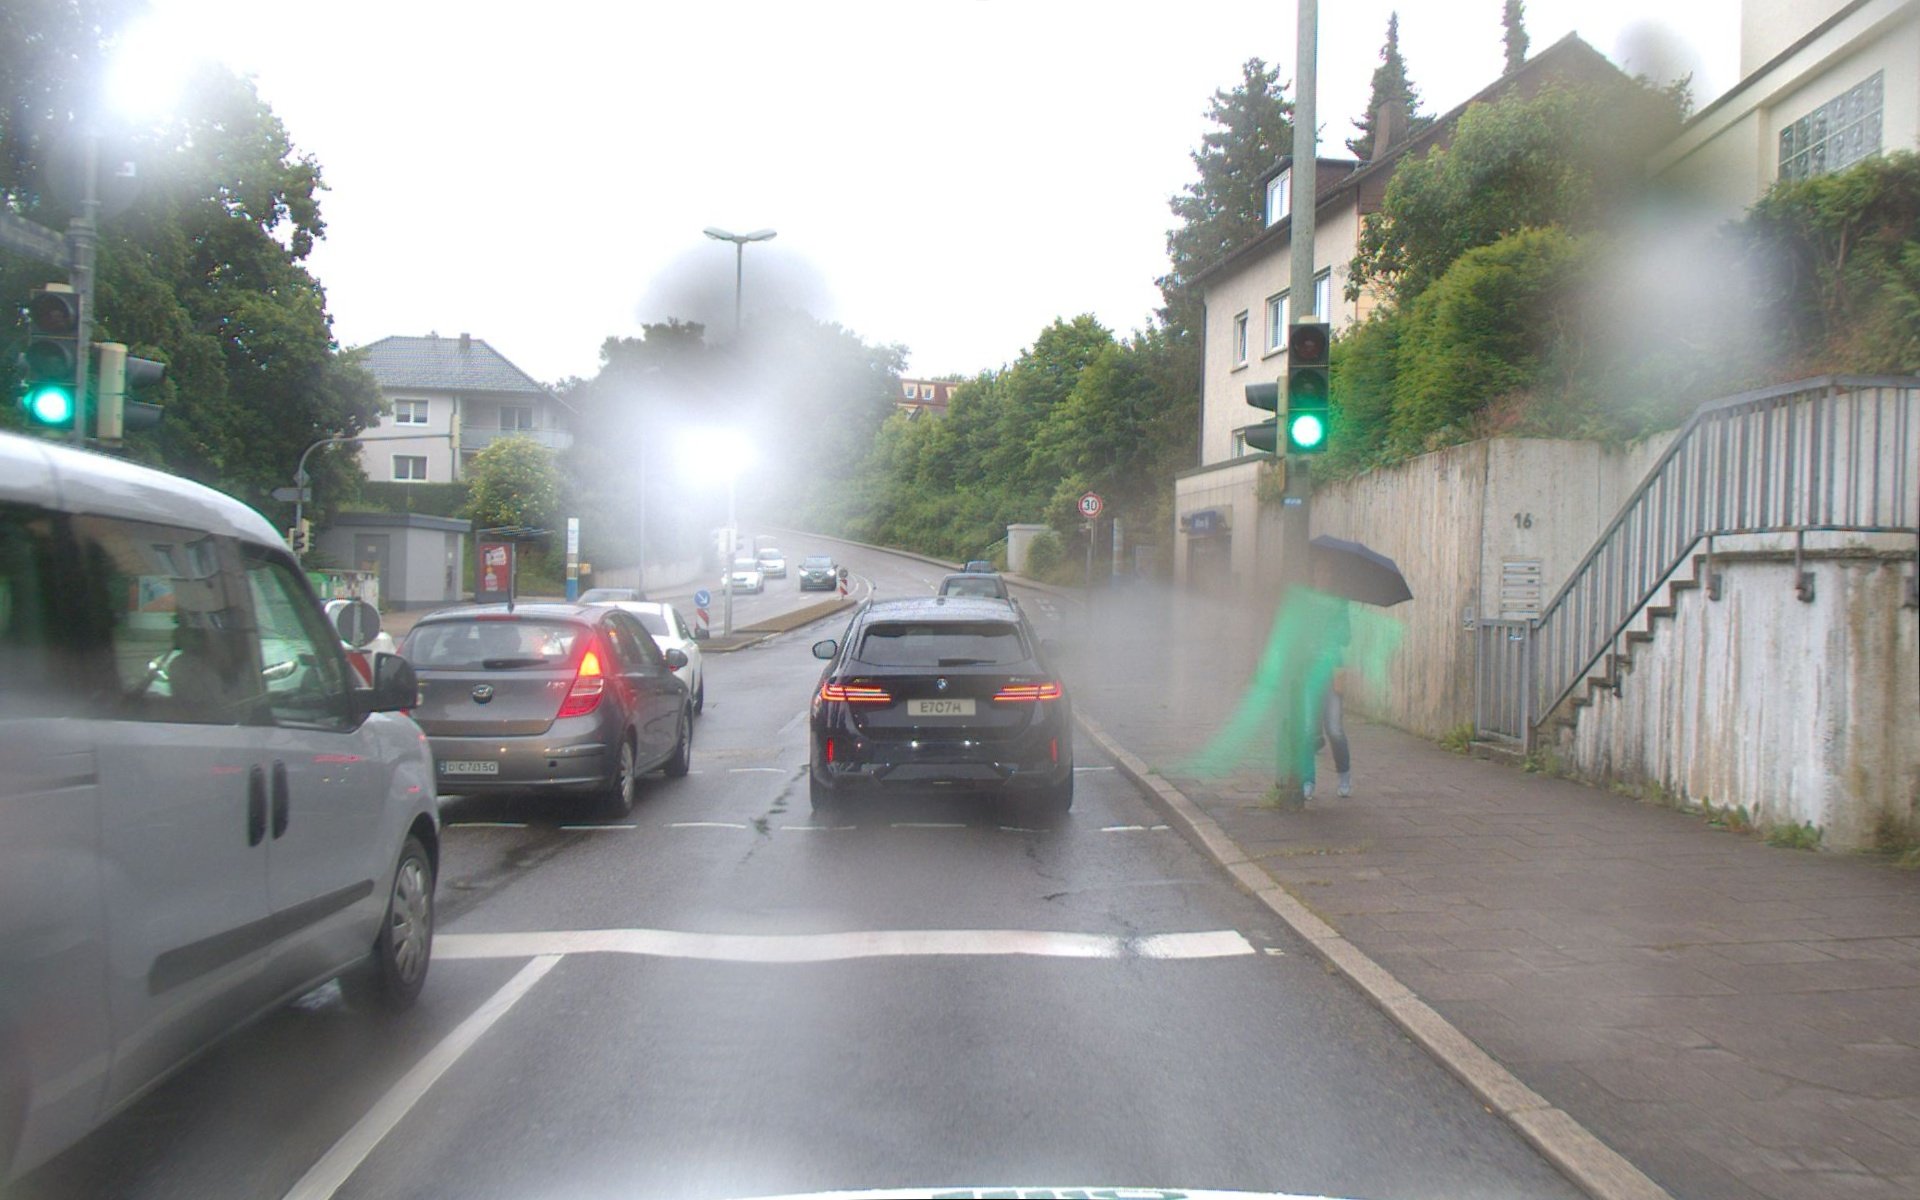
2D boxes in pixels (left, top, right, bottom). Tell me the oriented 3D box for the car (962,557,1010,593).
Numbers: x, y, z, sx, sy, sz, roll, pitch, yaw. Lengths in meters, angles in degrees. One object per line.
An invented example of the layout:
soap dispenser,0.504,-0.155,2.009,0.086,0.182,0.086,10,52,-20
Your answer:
car,1.252,-1.231,81.630,1.816,1.690,3.994,1,2,-7

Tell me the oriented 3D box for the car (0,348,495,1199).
car,-2.726,0.516,4.363,1.912,1.903,4.743,-1,0,-4

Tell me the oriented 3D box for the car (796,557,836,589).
car,-7.314,-1.364,84.517,1.804,1.579,4.382,-1,1,-2

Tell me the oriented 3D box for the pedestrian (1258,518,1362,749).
pedestrian,3.182,0.297,15.090,0.781,2.049,0.734,0,0,-1

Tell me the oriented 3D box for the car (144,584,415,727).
car,-8.401,0.631,20.912,1.800,1.583,4.765,-1,0,-5

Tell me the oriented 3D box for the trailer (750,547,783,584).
trailer,-11.937,-2.097,101.743,1.861,2.217,4.027,0,1,-9

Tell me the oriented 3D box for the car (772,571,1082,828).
car,-0.296,0.682,12.871,1.953,1.614,4.660,1,-1,-2

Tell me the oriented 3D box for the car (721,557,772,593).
car,-10.497,-1.230,81.543,1.786,1.686,4.467,-1,1,1

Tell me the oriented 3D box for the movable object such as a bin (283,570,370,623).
movable object such as a bin,-19.644,-0.117,51.328,2.014,1.596,1.582,0,2,4

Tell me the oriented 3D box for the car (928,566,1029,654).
car,0.339,0.164,36.206,1.954,1.779,3.998,-1,2,-3

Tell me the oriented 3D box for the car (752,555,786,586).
car,-11.299,-1.764,97.479,1.864,1.712,4.472,0,2,-8

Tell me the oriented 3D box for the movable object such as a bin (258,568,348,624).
movable object such as a bin,-19.736,-0.131,49.729,2.014,1.596,1.582,0,2,4

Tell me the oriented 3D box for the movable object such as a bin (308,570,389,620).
movable object such as a bin,-19.514,-0.180,52.804,2.014,1.541,1.345,0,2,4

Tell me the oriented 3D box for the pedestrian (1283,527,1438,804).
pedestrian,2.746,0.432,11.431,0.777,1.811,1.011,-1,0,-1

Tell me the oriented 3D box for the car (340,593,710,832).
car,-3.077,0.714,12.562,1.798,1.513,4.058,0,0,-1

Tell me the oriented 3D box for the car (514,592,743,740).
car,-3.790,0.693,19.741,1.869,1.555,4.651,0,0,-1

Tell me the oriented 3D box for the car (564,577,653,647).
car,-8.518,0.249,40.381,1.957,1.601,3.991,-1,1,-10
